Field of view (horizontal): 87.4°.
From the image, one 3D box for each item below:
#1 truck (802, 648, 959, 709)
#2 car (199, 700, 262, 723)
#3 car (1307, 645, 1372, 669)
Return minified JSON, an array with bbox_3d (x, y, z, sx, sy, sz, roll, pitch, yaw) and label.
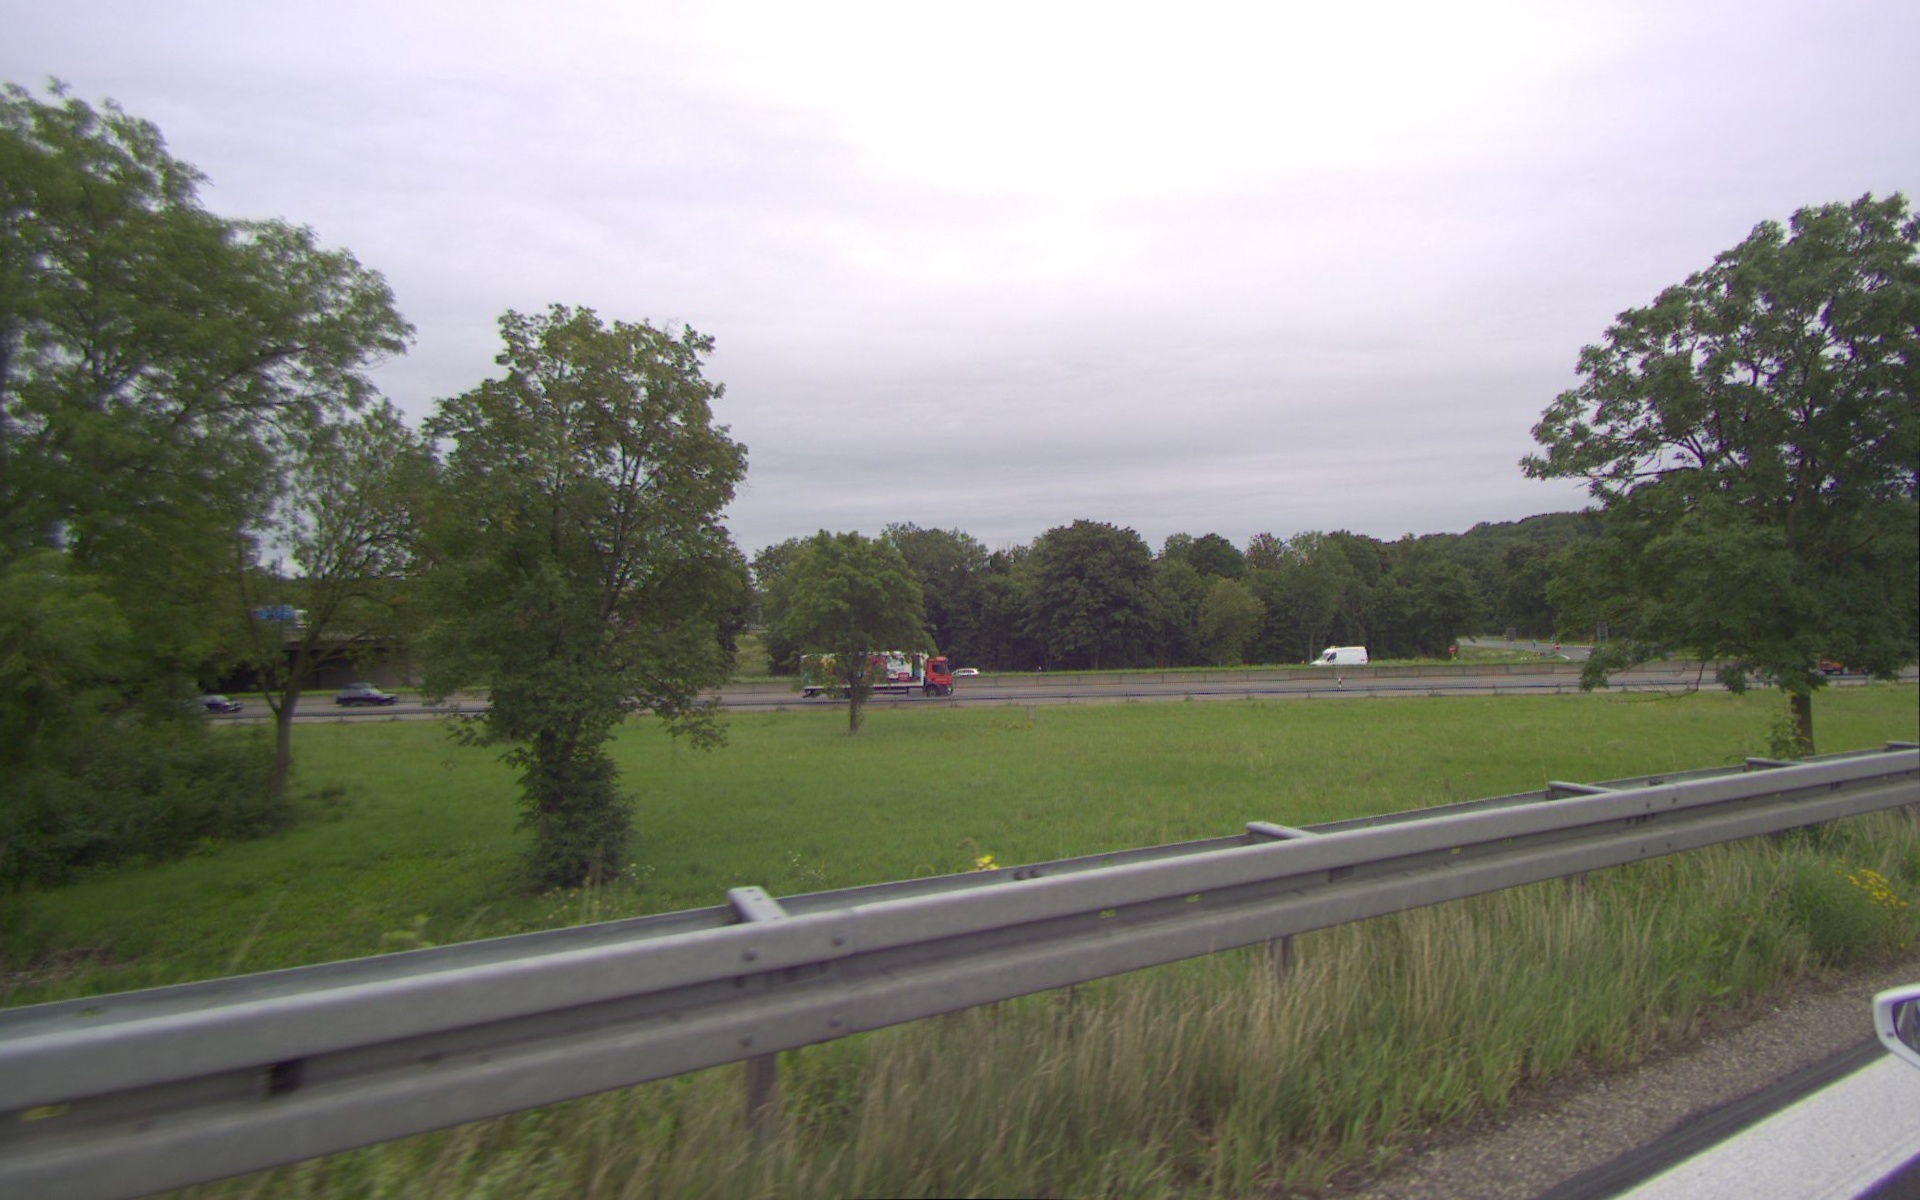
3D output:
[{"bbox_3d":[-5.820,5.801,74.796,11.199,4.058,2.907,-2,-1,4],"label":"truck"},{"bbox_3d":[-60.539,9.244,83.372,3.919,1.794,2.002,-2,-4,8],"label":"car"},{"bbox_3d":[38.930,5.859,103.053,5.855,2.129,2.025,-2,-4,-9],"label":"car"}]
